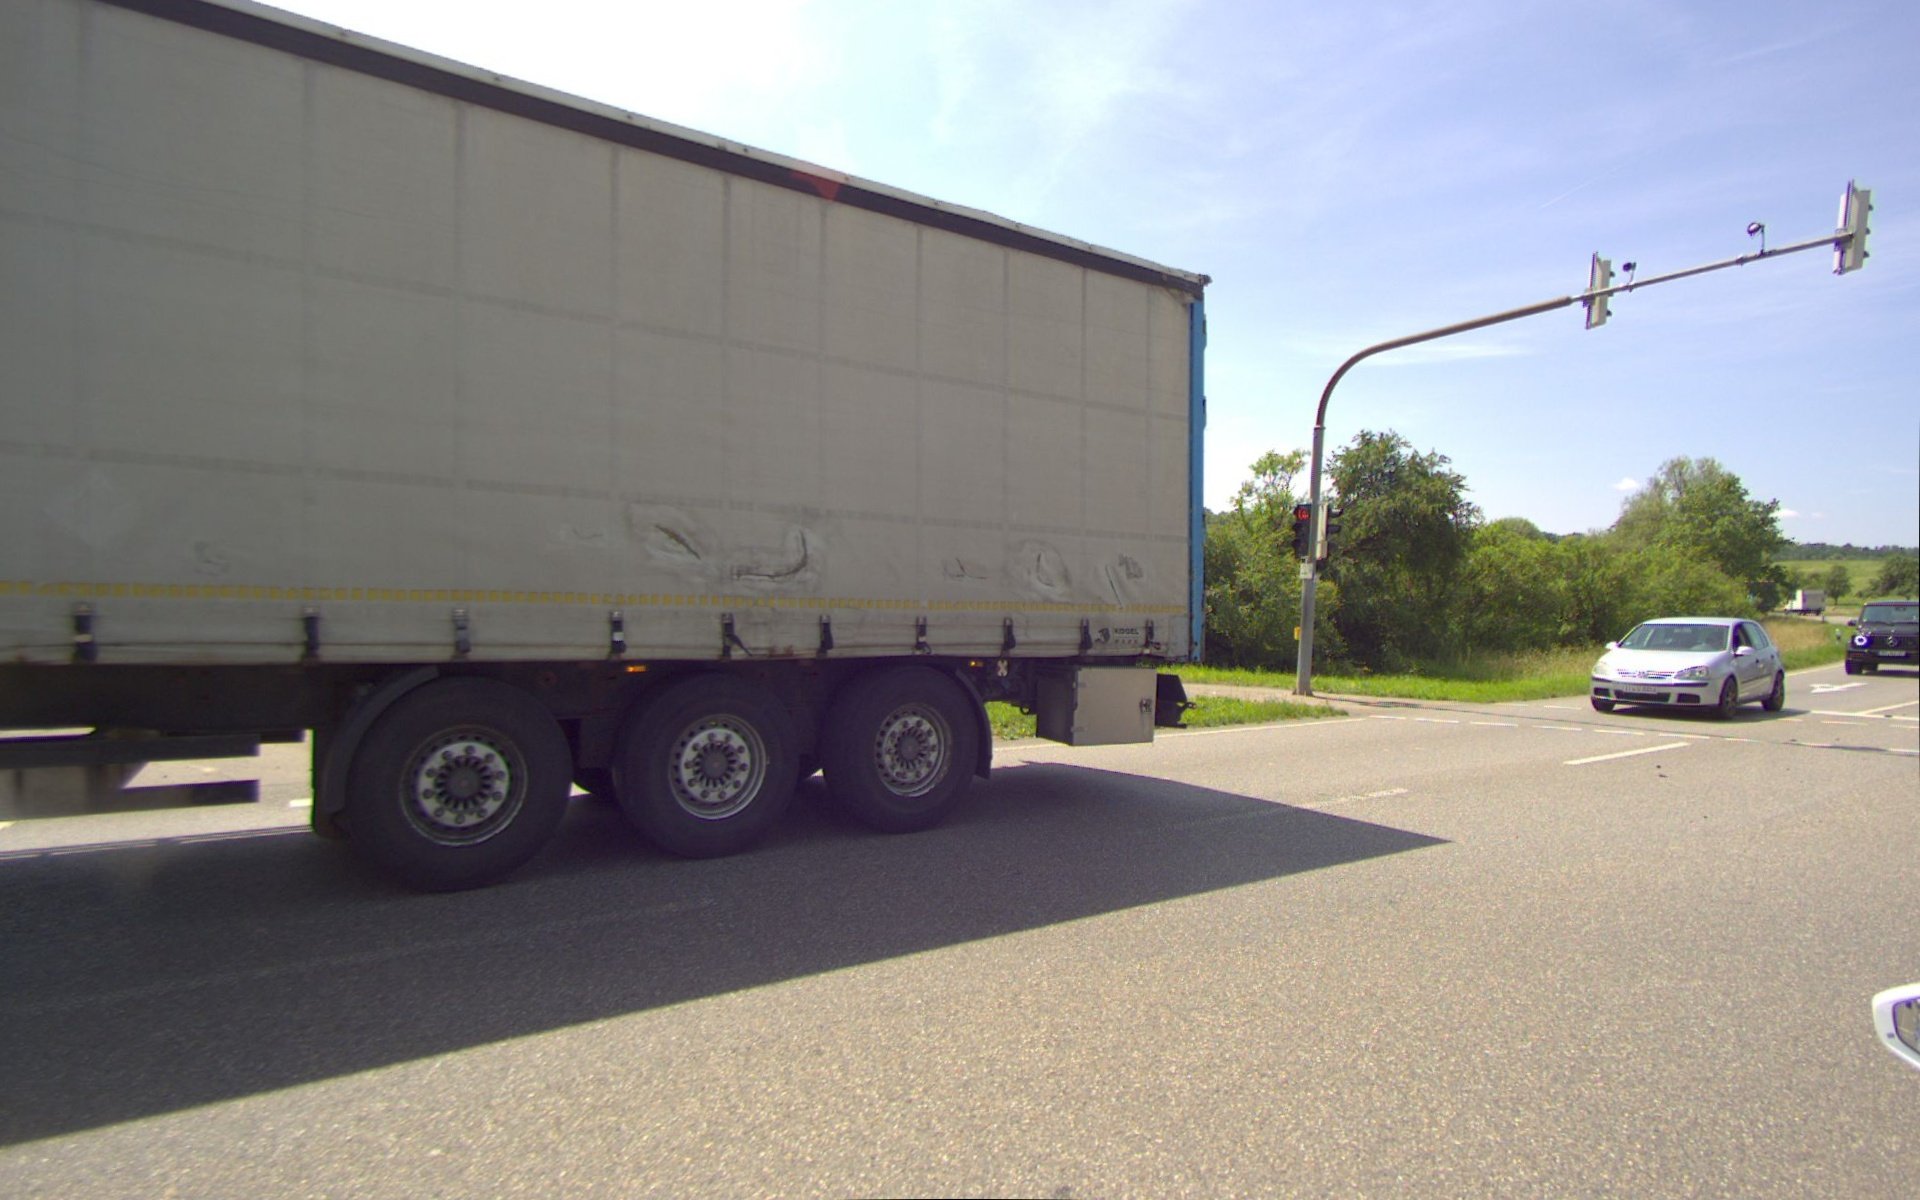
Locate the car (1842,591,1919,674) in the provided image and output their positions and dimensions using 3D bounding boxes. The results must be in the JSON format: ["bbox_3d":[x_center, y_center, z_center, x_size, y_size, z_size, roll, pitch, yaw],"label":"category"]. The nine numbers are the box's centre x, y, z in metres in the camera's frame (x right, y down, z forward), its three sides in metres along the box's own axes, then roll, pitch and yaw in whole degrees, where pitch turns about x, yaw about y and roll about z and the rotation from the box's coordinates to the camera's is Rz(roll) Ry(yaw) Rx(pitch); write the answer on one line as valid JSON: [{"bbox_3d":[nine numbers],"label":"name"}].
[{"bbox_3d":[25.418,0.856,27.231,1.973,2.033,5.132,2,0,44],"label":"car"}]

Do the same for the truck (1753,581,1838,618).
[{"bbox_3d":[101.731,0.040,122.648,3.577,4.184,13.097,3,0,20],"label":"truck"}]

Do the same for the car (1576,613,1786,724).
[{"bbox_3d":[11.404,0.997,15.806,3.967,1.515,1.756,2,-1,-40],"label":"car"}]

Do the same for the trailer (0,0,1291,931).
[{"bbox_3d":[-3.626,-0.761,5.440,13.451,4.084,2.551,1,0,-34],"label":"trailer"}]

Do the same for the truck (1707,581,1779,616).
[{"bbox_3d":[107.339,-0.109,138.036,3.471,4.297,13.407,3,0,19],"label":"truck"}]
